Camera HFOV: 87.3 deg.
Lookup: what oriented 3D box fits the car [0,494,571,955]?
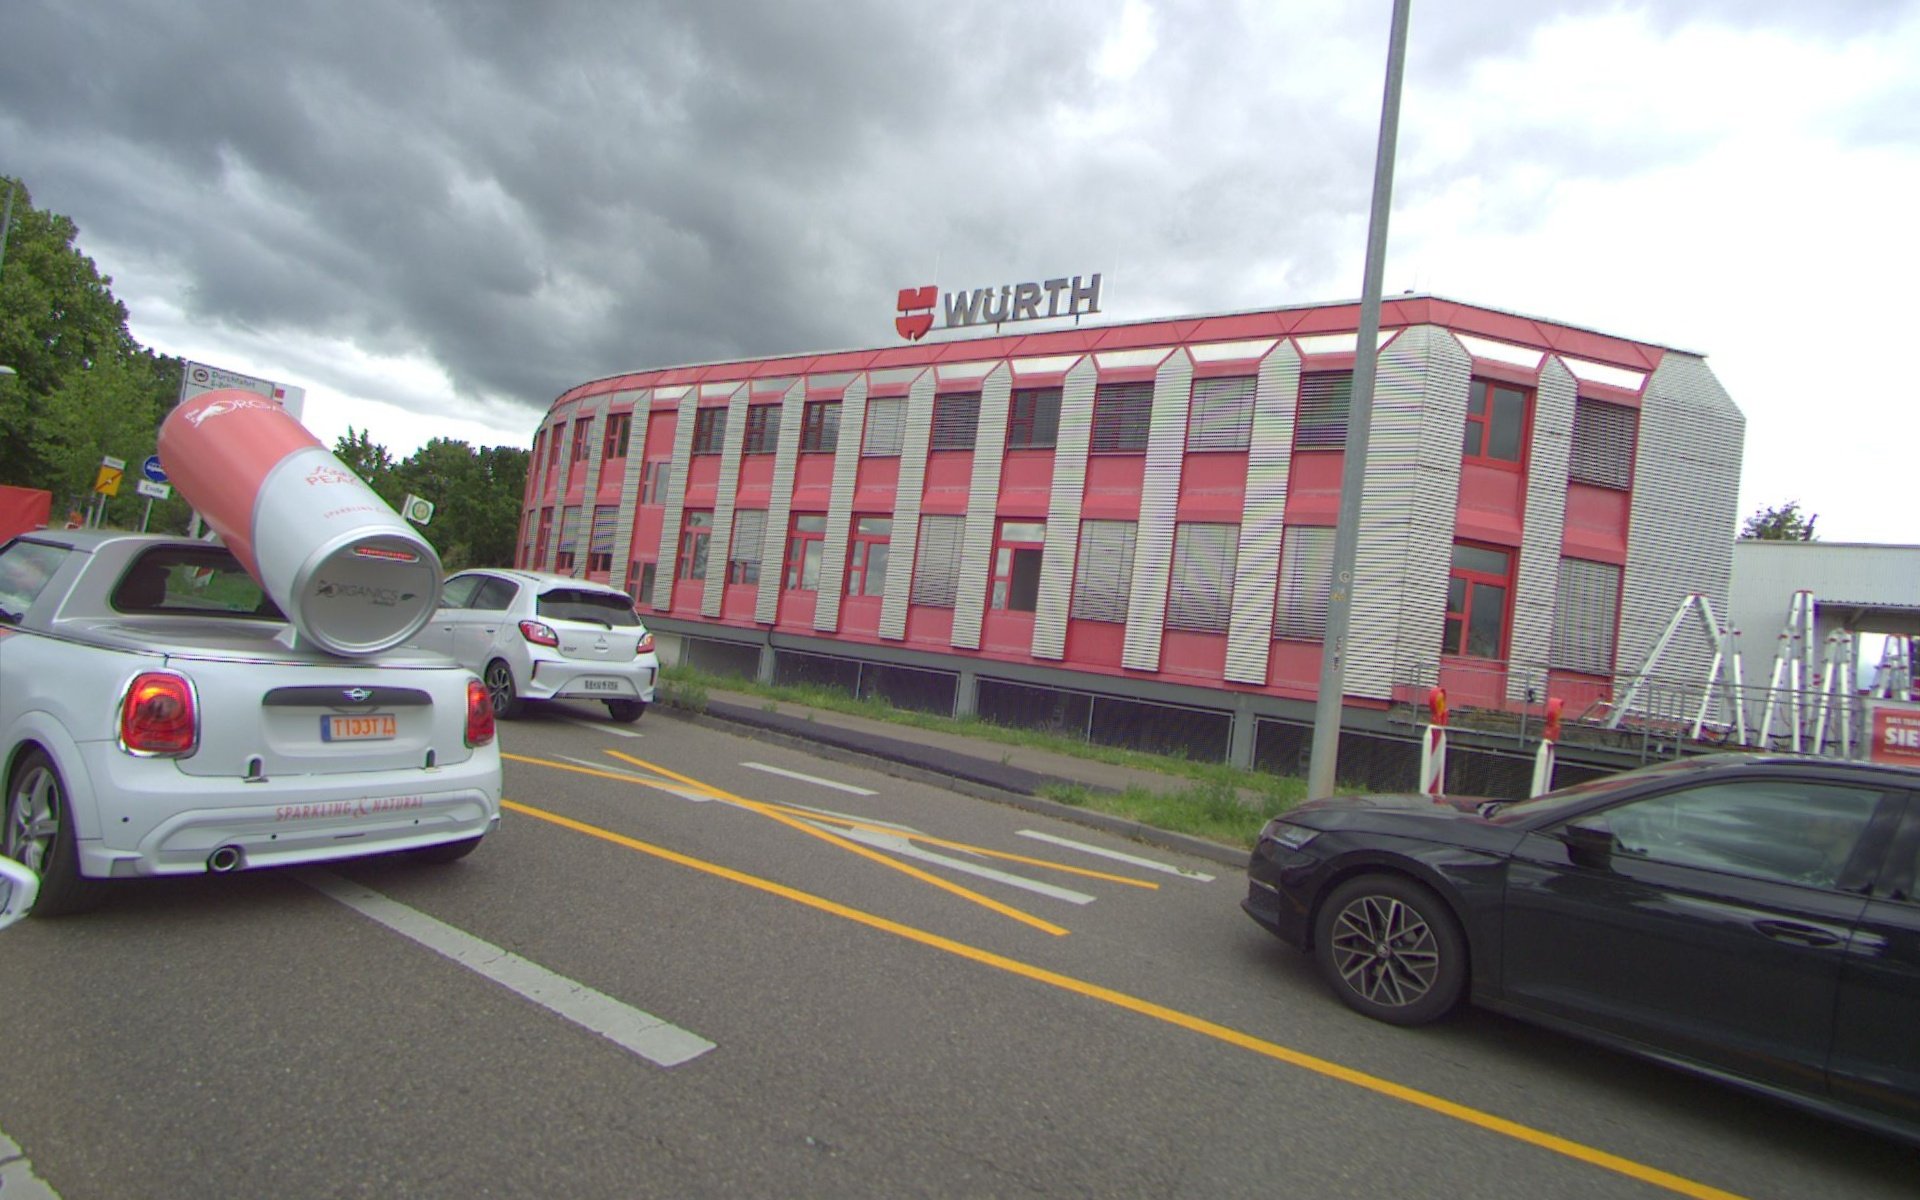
[{"bbox_3d":[-3.914,0.345,4.982,3.635,1.474,1.722,6,-2,31],"label":"car"}]

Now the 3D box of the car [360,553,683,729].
[{"bbox_3d":[-4.969,0.414,11.235,3.633,1.474,1.624,6,-2,38],"label":"car"}]

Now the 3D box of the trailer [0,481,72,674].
[{"bbox_3d":[-9.641,-0.374,9.173,3.250,1.612,1.411,7,-1,34],"label":"trailer"}]

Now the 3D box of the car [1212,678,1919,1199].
[{"bbox_3d":[3.492,1.378,4.254,4.216,1.450,1.834,7,0,40],"label":"car"}]
